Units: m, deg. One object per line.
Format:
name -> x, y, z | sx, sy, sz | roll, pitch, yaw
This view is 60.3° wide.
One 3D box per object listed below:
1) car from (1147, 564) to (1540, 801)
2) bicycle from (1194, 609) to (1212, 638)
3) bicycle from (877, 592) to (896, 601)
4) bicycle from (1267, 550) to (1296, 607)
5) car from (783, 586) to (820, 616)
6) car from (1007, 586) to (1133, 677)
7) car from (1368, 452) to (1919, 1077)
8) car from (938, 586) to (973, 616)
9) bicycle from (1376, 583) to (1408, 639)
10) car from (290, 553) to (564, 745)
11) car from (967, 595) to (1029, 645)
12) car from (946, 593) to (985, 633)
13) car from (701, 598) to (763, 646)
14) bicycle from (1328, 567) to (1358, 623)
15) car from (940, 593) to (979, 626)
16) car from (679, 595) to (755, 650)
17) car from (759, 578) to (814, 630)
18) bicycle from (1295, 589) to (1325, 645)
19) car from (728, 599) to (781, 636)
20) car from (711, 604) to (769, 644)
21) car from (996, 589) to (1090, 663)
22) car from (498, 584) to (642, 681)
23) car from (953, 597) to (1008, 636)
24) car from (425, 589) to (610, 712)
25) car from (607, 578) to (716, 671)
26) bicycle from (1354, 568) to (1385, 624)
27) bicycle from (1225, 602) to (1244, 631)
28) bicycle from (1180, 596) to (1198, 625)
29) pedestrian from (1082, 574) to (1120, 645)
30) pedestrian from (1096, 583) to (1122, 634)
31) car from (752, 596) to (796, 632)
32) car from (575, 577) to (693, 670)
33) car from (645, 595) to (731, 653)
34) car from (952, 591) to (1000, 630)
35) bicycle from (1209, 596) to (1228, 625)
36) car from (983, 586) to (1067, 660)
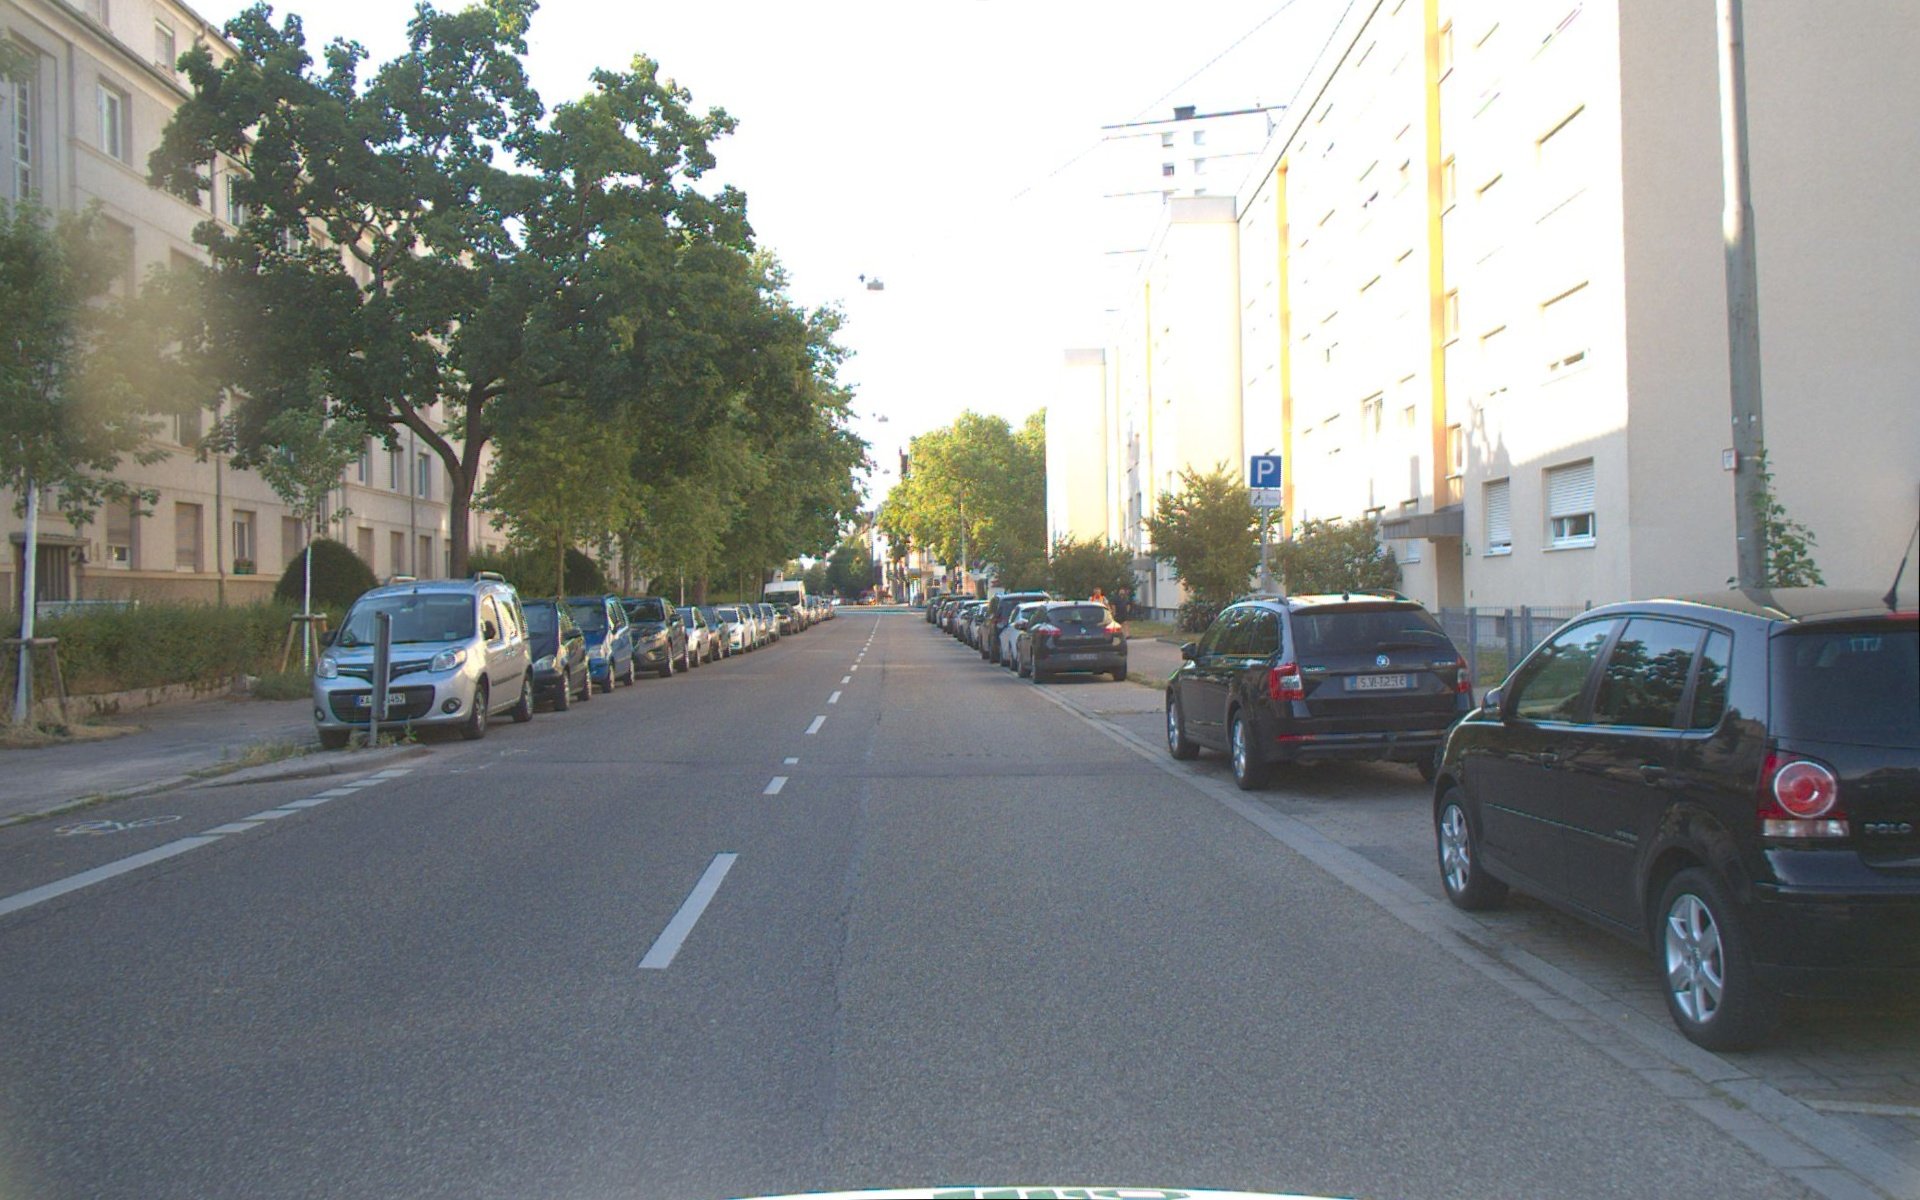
car -> 3.000, 0.601, 14.174 | 1.849, 1.589, 4.942 | -2, 0, -4
bicycle -> 8.130, 0.789, 55.357 | 0.428, 0.958, 1.791 | 1, -1, 3
bicycle -> -10.982, -0.548, 248.273 | 2.751, 1.225, 0.509 | 1, -1, -9
bicycle -> 7.059, -0.468, 36.337 | 0.326, 1.213, 1.240 | 1, -1, -2
car -> -9.506, 0.014, 99.456 | 1.834, 1.585, 5.054 | -5, 1, -3
car -> 2.048, 0.599, 32.099 | 1.764, 1.533, 4.617 | -3, -1, -4
car -> 3.290, 0.477, 7.155 | 1.862, 1.810, 4.581 | -2, -1, 0
car -> -0.306, 0.066, 102.603 | 1.860, 1.680, 4.340 | 4, 0, -3
bicycle -> 9.570, 0.248, 36.635 | 0.326, 1.213, 1.240 | 1, -1, -2
car -> -6.102, 0.534, 19.520 | 1.804, 1.929, 4.485 | -2, -1, -1
car -> 1.218, 0.661, 54.704 | 1.736, 1.479, 3.998 | -3, -1, -2
car -> 0.256, 0.595, 77.289 | 1.799, 1.803, 3.978 | 0, -1, 0
car -> -7.808, 0.751, 56.996 | 1.836, 1.579, 3.996 | 1, -1, -4
bicycle -> 8.425, -0.100, 36.412 | 0.326, 1.213, 1.240 | 1, -1, -2
car -> -0.052, 0.490, 81.648 | 1.800, 1.528, 4.171 | 1, -1, -1
car -> -7.456, 0.685, 51.146 | 1.965, 1.579, 4.467 | 1, -1, -4
car -> -8.655, 0.210, 83.165 | 2.311, 2.488, 6.162 | 1, -1, -2
bicycle -> 7.677, 0.370, 36.288 | 0.326, 1.213, 1.240 | 1, -1, -2
car -> -8.206, 0.697, 66.334 | 1.836, 1.379, 4.649 | 1, -1, -4
car -> -7.983, 0.863, 60.284 | 1.836, 1.379, 3.996 | 1, -1, -4
car -> 1.826, 0.590, 37.605 | 1.736, 1.534, 3.998 | -2, -1, -2
car -> -6.814, 0.562, 29.263 | 1.836, 1.579, 3.996 | 1, -1, -4
car -> 0.771, 0.640, 65.242 | 1.836, 1.468, 3.996 | 1, -1, -4
car -> -6.406, 0.702, 24.374 | 1.837, 1.579, 3.996 | -3, 0, -4
car -> -7.180, 0.586, 40.130 | 1.954, 2.049, 3.998 | -3, -1, -2
bicycle -> 9.127, -0.079, 36.892 | 0.326, 1.213, 1.240 | 1, -1, -2
bicycle -> 9.177, 0.564, 55.366 | 0.428, 0.958, 1.791 | 1, -1, 3
bicycle -> 7.657, 0.353, 55.387 | 0.428, 0.958, 1.791 | 1, -1, 3
pedestrian -> 3.890, 0.272, 45.691 | 0.871, 1.924, 1.278 | 1, -1, -2
pedestrian -> 5.080, 0.305, 56.457 | 0.750, 1.687, 0.536 | -3, -1, -3
car -> -8.535, 0.661, 76.175 | 1.673, 1.601, 3.817 | 1, -1, -2
car -> -6.754, 0.493, 34.725 | 1.836, 1.790, 4.685 | 1, -1, -4
car -> -7.257, 0.638, 44.547 | 1.836, 1.459, 4.799 | 1, -1, -4
car -> 0.661, 0.464, 72.619 | 1.923, 1.633, 4.277 | 0, -1, -2
bicycle -> 8.639, 0.368, 55.354 | 0.428, 0.958, 1.791 | 1, -1, 3
car -> 1.639, 0.601, 43.140 | 1.736, 1.707, 4.644 | -4, -1, -2
